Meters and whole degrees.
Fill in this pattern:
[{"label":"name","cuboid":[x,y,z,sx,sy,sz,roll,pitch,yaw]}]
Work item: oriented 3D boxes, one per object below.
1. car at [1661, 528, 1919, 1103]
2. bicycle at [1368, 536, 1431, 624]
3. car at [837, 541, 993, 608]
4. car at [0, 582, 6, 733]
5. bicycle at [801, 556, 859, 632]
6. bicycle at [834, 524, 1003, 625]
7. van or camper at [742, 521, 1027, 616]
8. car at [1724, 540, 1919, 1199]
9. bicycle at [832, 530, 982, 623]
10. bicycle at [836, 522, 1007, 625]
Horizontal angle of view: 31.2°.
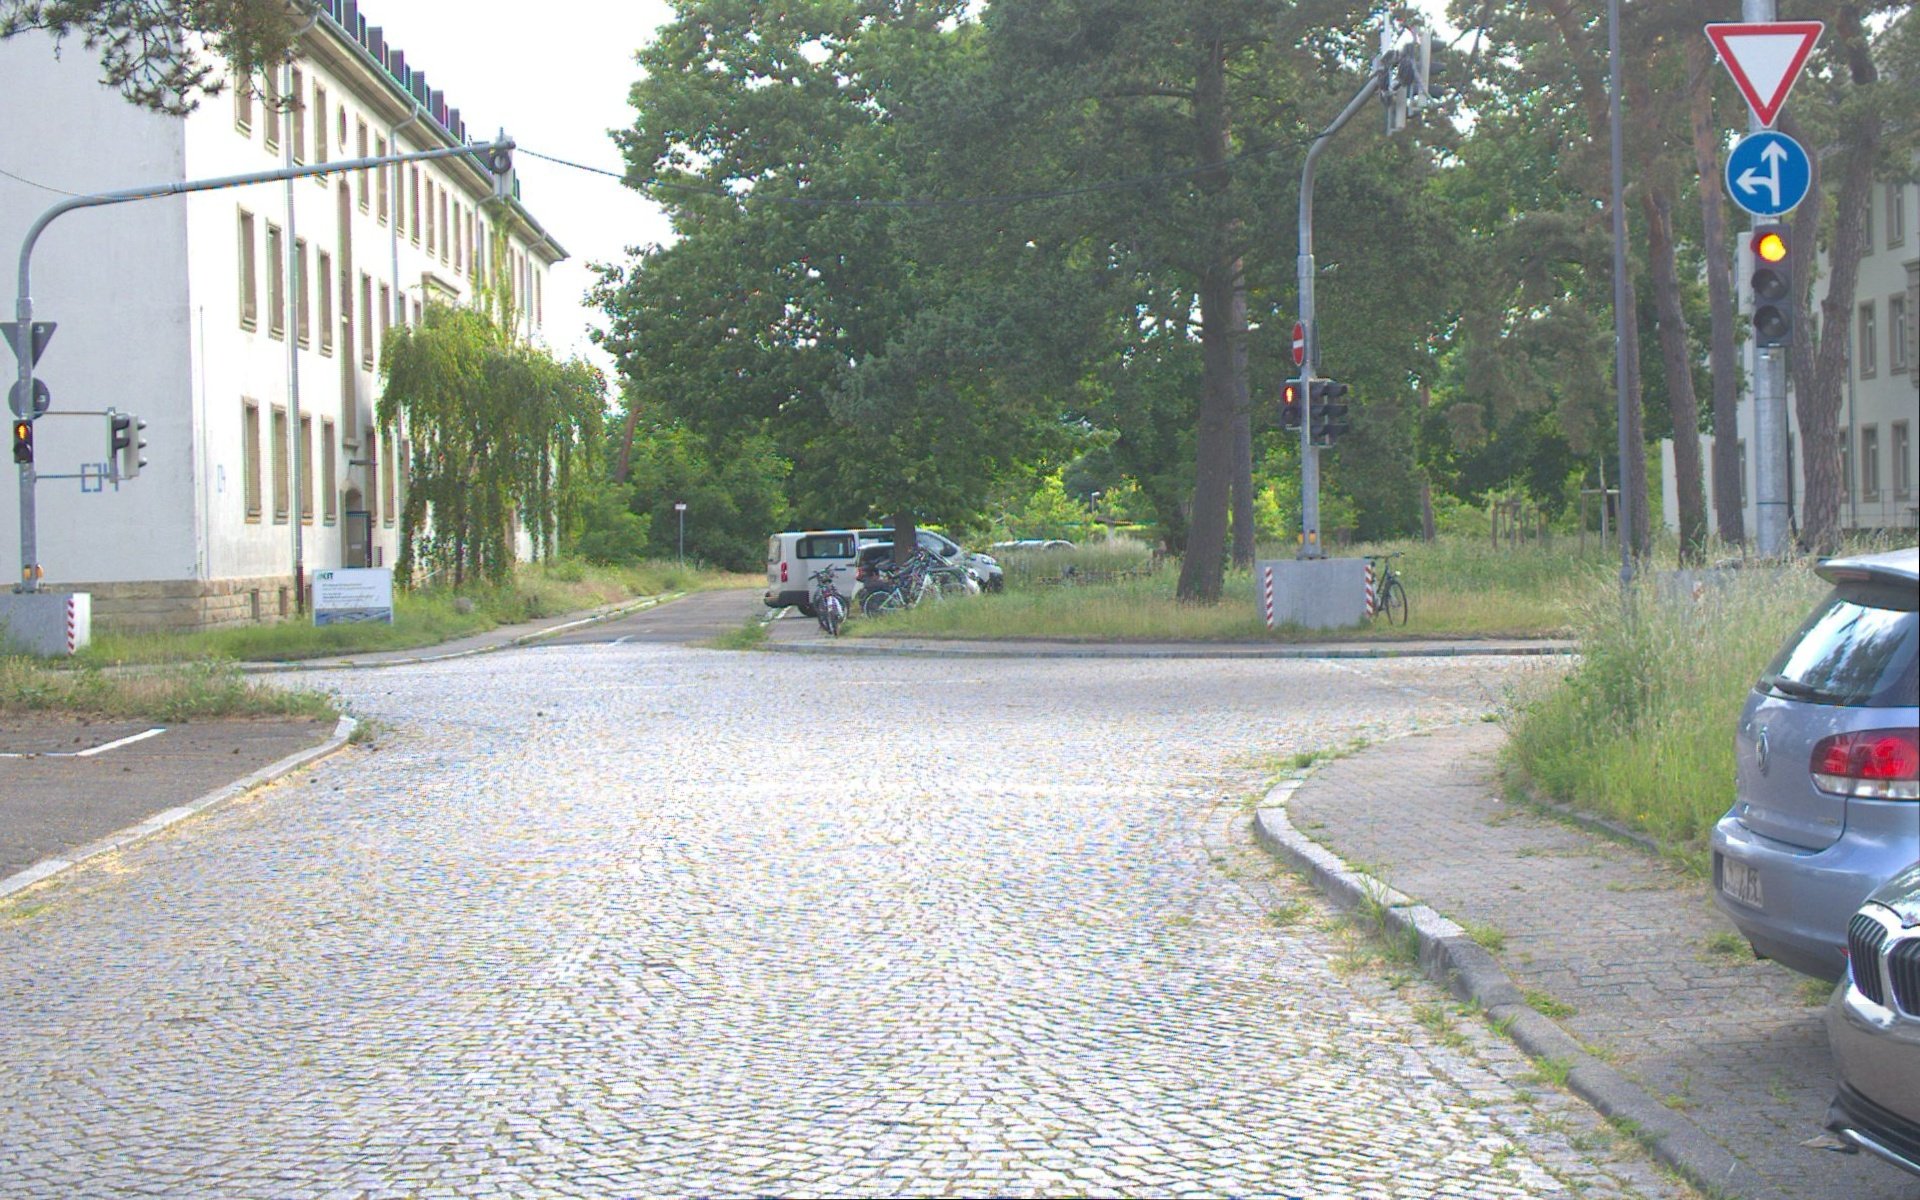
[{"label":"car","cuboid":[4.111,0.491,9.751,3.842,1.466,1.642,-2,1,-2]},{"label":"bicycle","cuboid":[5.999,-0.286,47.047,0.724,1.165,2.736,1,1,5]},{"label":"car","cuboid":[-0.966,-0.558,73.117,3.137,1.349,1.620,-1,1,-7]},{"label":"car","cuboid":[-7.096,0.549,16.615,4.477,1.437,1.831,2,1,-5]},{"label":"bicycle","cuboid":[-2.048,-0.107,54.423,0.725,1.104,2.462,-6,1,0]},{"label":"bicycle","cuboid":[-0.727,-0.451,59.919,2.775,1.688,1.120,-1,1,-8]},{"label":"van or camper","cuboid":[-1.694,-0.722,76.680,6.030,1.942,2.001,-1,1,-15]},{"label":"car","cuboid":[4.079,0.576,7.142,4.512,1.478,1.808,-1,1,-4]},{"label":"bicycle","cuboid":[-0.998,-0.445,64.819,2.775,1.688,1.120,1,1,0]},{"label":"bicycle","cuboid":[-0.670,-0.459,58.725,2.775,1.688,1.120,-1,1,-7]}]
